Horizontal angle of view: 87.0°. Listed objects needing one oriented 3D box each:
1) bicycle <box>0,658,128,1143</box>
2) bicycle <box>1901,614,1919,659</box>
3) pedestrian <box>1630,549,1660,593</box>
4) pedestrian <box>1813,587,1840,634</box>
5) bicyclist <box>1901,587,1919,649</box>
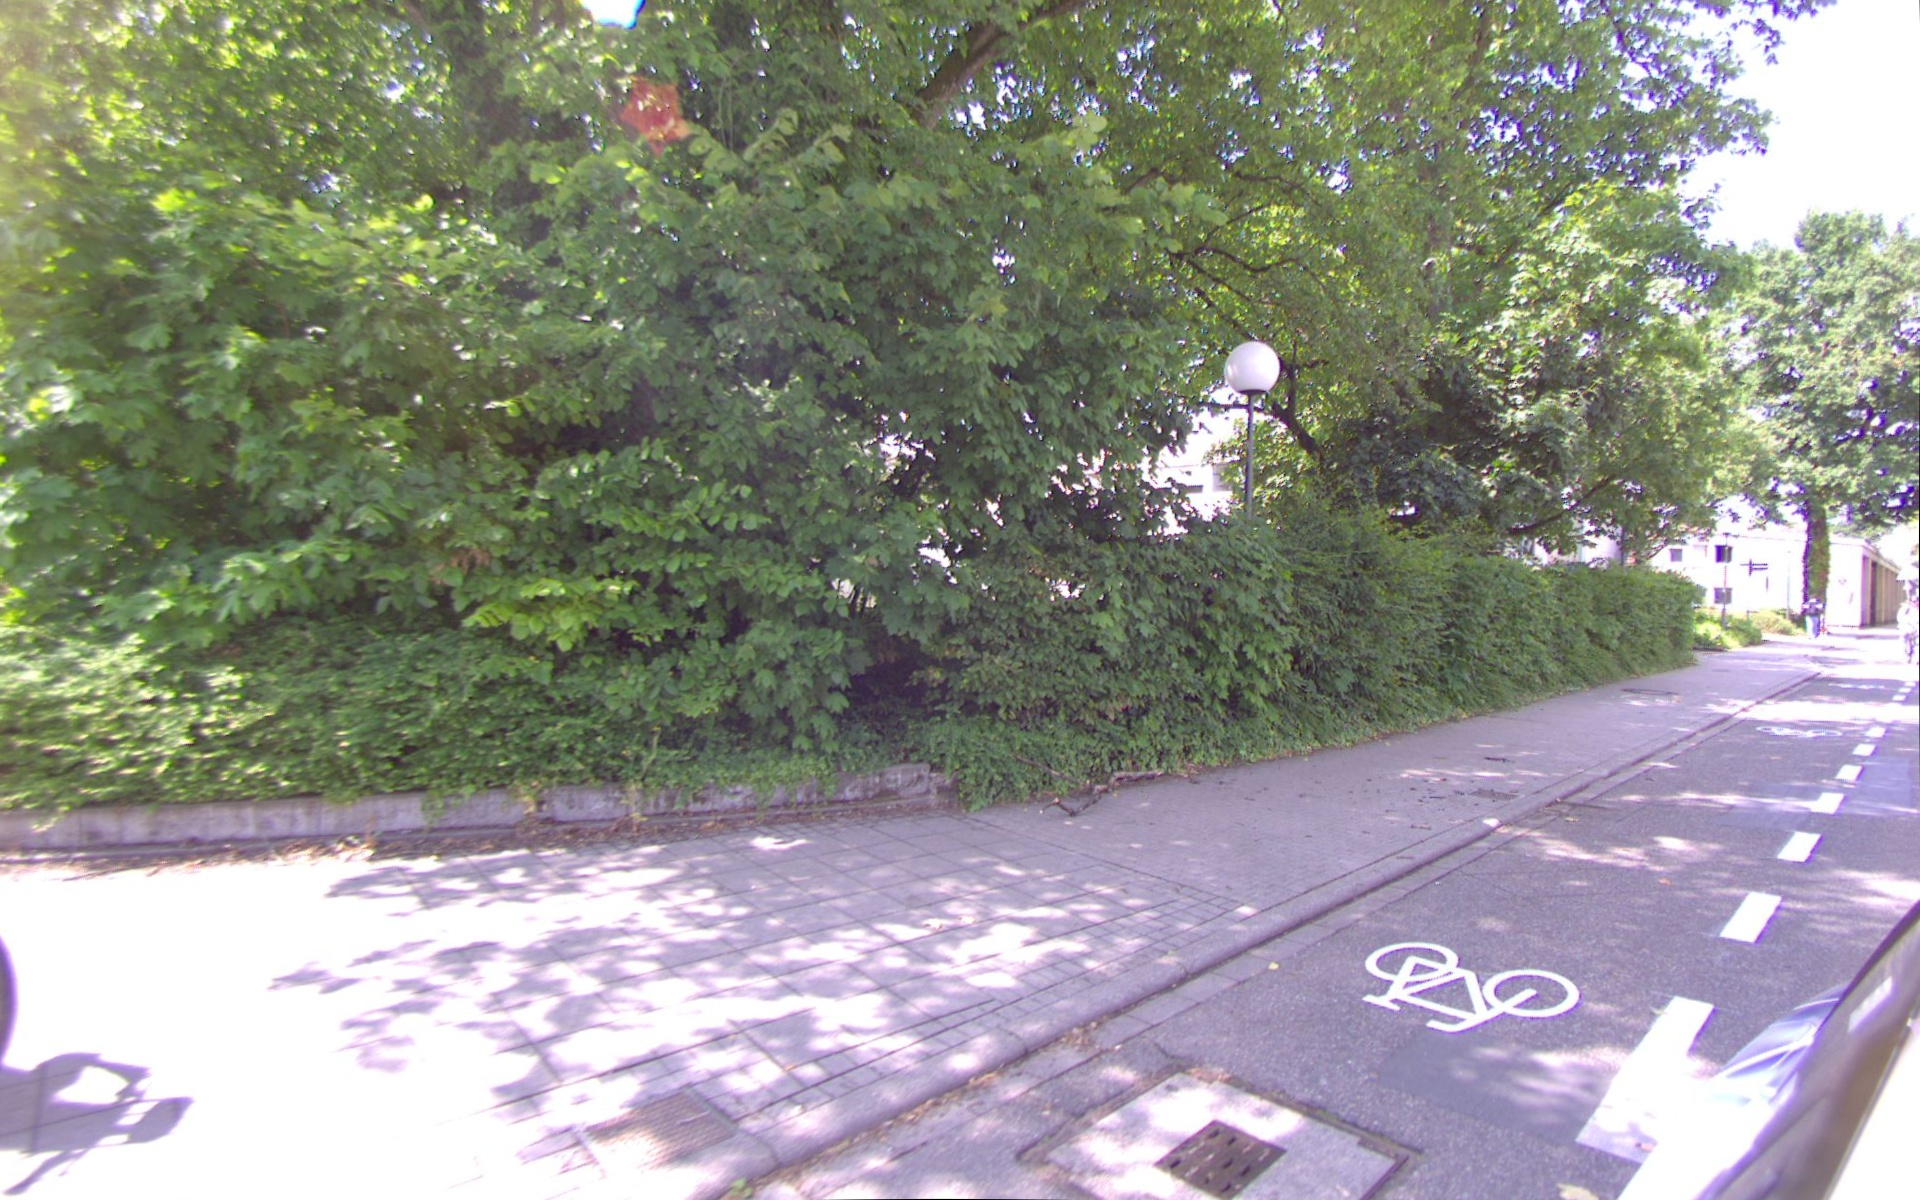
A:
[{"bbox_3d":[-3.265,0.750,2.550,1.706,1.140,0.595,1,3,-16],"label":"bicycle"},{"bbox_3d":[23.625,0.881,24.810,0.779,1.061,1.883,2,1,43],"label":"bicycle"},{"bbox_3d":[32.022,-1.342,47.291,0.933,2.039,0.929,1,1,-41],"label":"pedestrian"},{"bbox_3d":[32.512,0.385,37.970,0.739,1.695,1.237,1,0,42],"label":"pedestrian"},{"bbox_3d":[23.608,0.451,24.789,0.779,1.505,0.684,2,1,44],"label":"bicyclist"}]
